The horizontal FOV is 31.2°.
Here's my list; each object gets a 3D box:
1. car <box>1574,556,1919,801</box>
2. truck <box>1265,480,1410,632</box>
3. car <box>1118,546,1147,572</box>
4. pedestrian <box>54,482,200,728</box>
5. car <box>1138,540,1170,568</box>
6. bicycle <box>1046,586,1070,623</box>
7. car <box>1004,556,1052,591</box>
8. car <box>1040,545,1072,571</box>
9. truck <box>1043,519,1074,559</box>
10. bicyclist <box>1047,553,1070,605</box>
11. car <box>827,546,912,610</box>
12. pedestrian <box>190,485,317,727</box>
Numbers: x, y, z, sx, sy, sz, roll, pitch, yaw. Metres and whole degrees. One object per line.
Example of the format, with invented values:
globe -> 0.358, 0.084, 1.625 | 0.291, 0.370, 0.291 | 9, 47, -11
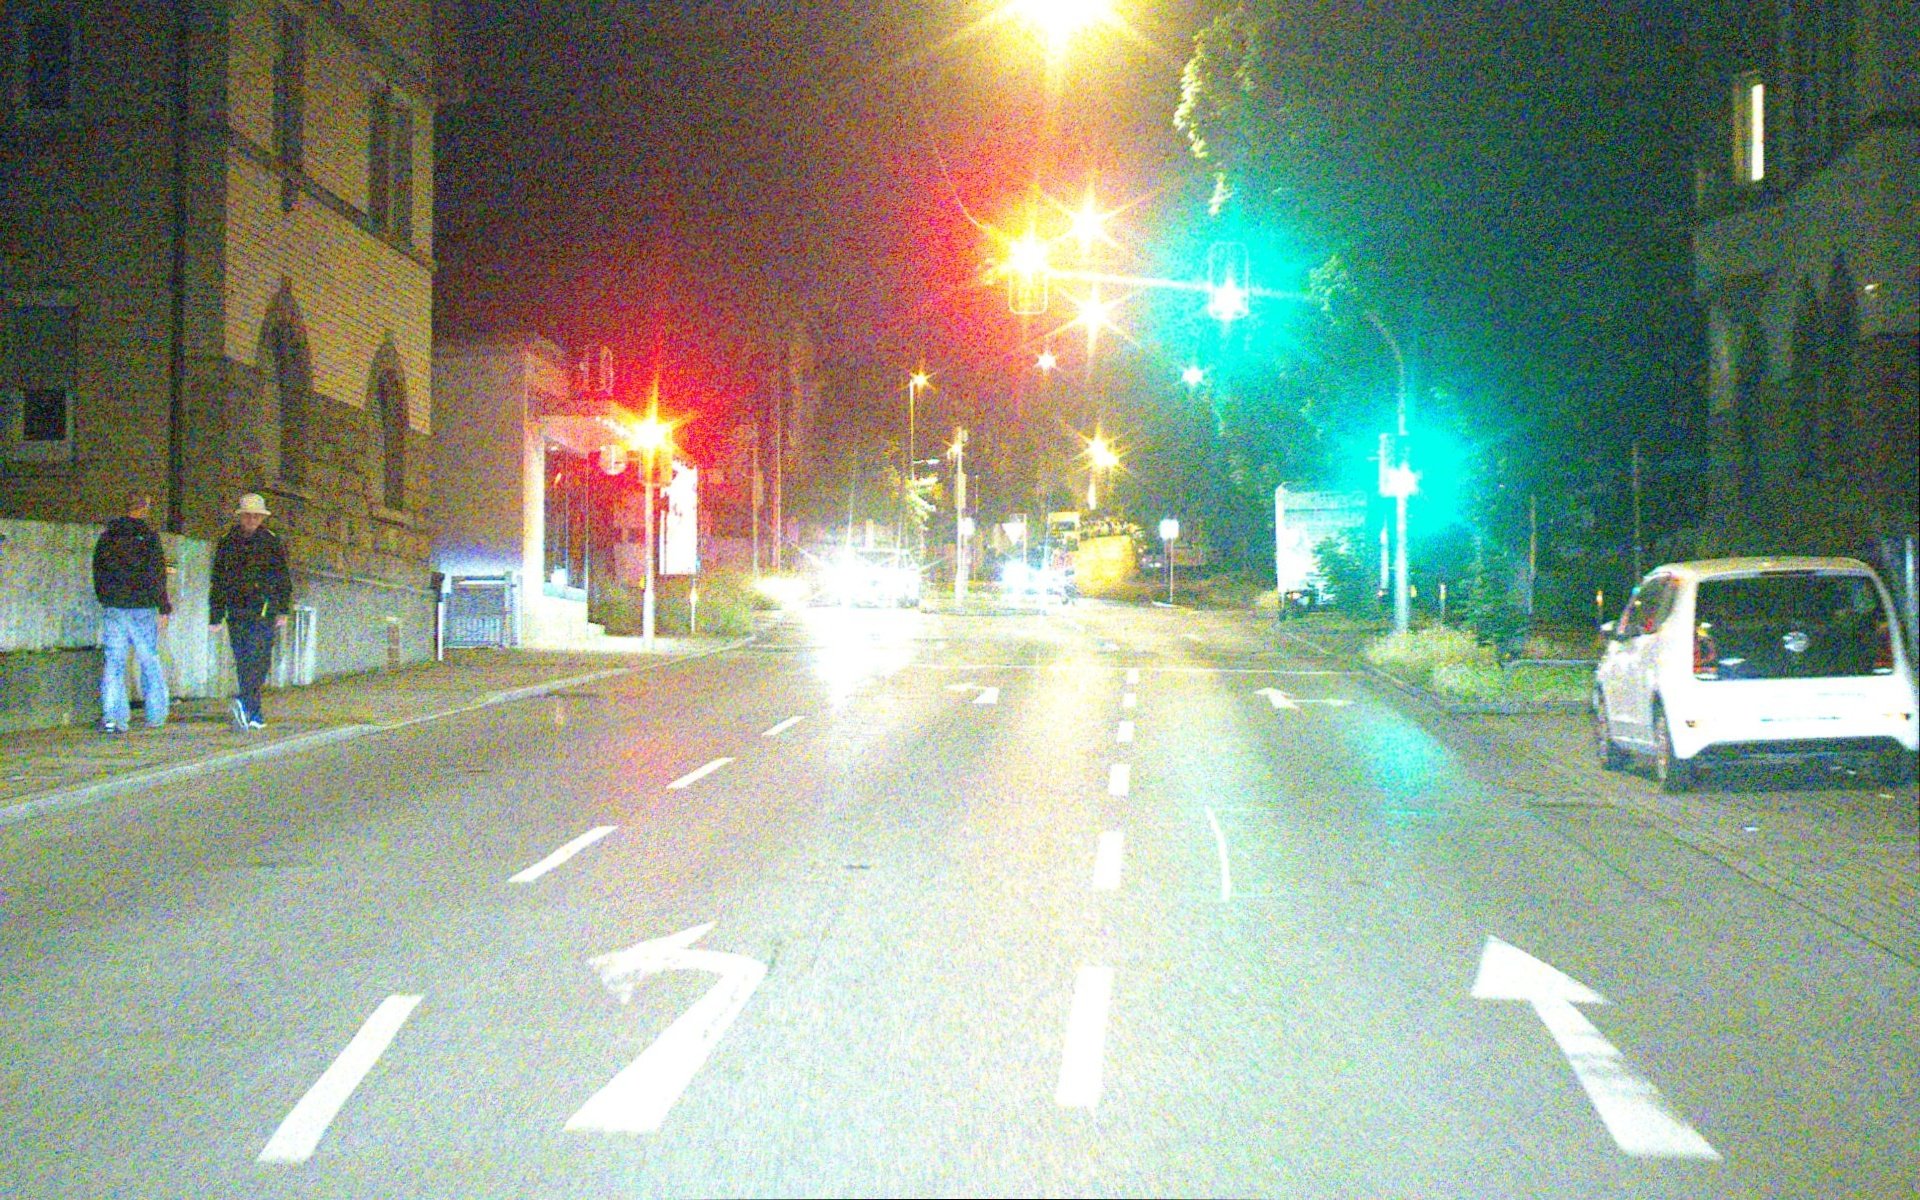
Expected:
car -> 5.228, 0.462, 23.040 | 1.668, 1.479, 3.603 | -1, 1, 2
truck -> 8.100, -0.944, 74.441 | 2.750, 3.100, 6.258 | 1, 1, 3
car -> 10.031, -2.401, 199.445 | 1.634, 1.447, 3.484 | 1, 1, 3
pedestrian -> -6.048, 0.031, 25.002 | 0.742, 1.739, 1.103 | 1, 0, 2
car -> 10.334, -2.443, 183.415 | 1.634, 1.447, 3.484 | 1, 1, 3
bicycle -> 3.091, 0.151, 108.282 | 0.696, 1.145, 1.950 | 1, 0, 3
car -> 2.843, -1.108, 142.941 | 1.916, 1.384, 4.582 | 1, 1, 2
car -> 5.620, -2.445, 201.040 | 1.815, 1.486, 4.000 | 1, 1, 1
truck -> 7.153, -4.440, 250.045 | 2.086, 2.838, 5.831 | 1, 1, 1
bicyclist -> 3.105, -0.655, 108.286 | 0.690, 1.631, 0.896 | 1, 0, 3
car -> -2.273, -0.570, 87.262 | 1.857, 1.529, 4.027 | 1, 1, 3
pedestrian -> -5.222, 0.041, 25.455 | 0.675, 1.739, 1.029 | 1, 0, 2
